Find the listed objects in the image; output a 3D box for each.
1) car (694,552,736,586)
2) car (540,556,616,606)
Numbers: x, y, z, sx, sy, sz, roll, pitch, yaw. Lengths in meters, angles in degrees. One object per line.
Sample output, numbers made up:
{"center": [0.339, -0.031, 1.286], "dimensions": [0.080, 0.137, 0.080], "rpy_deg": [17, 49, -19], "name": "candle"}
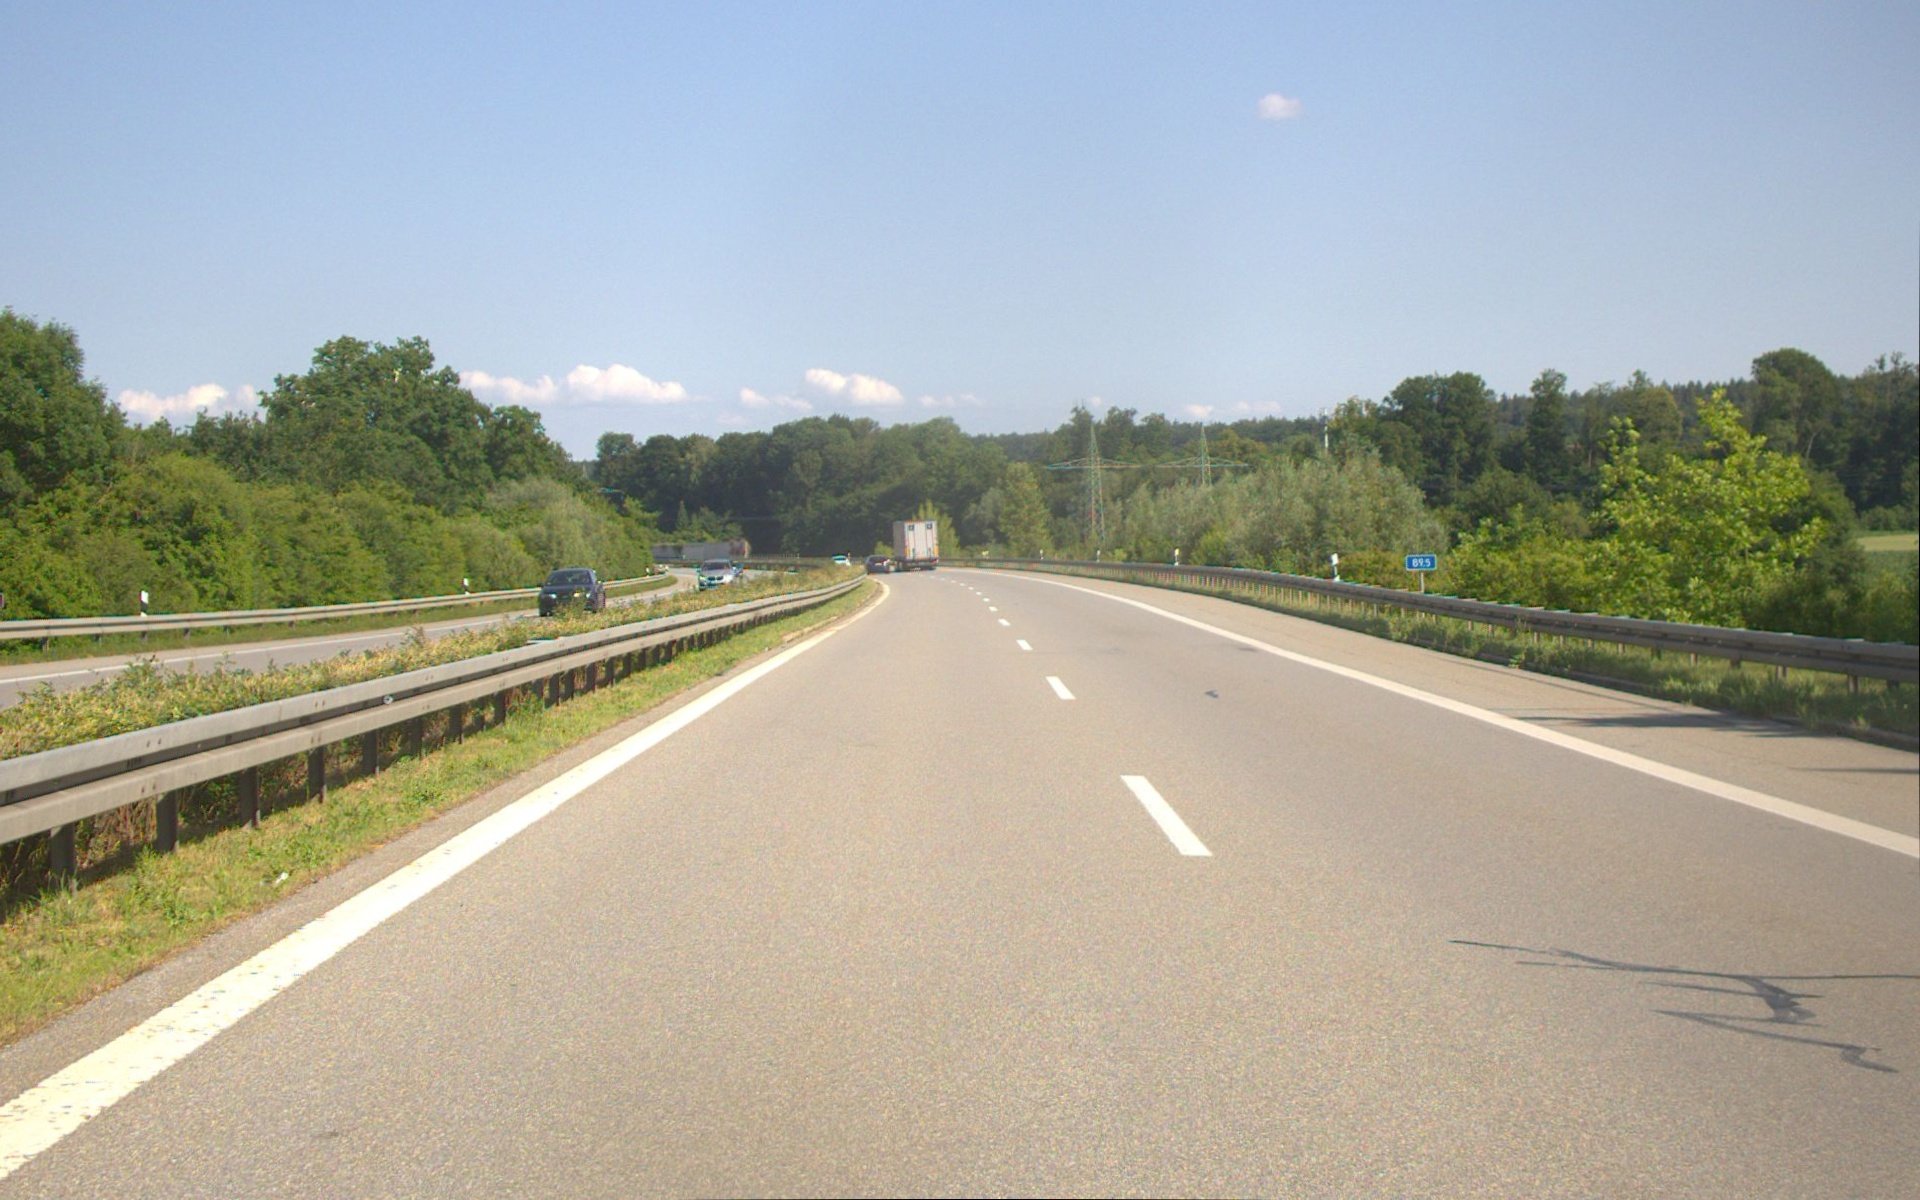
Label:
{"center": [-12.385, -1.580, 174.020], "dimensions": [1.909, 1.583, 4.918], "rpy_deg": [-3, 1, -2], "name": "car"}
{"center": [-11.851, -0.600, 106.917], "dimensions": [1.739, 1.440, 4.768], "rpy_deg": [-2, 1, 1], "name": "car"}
